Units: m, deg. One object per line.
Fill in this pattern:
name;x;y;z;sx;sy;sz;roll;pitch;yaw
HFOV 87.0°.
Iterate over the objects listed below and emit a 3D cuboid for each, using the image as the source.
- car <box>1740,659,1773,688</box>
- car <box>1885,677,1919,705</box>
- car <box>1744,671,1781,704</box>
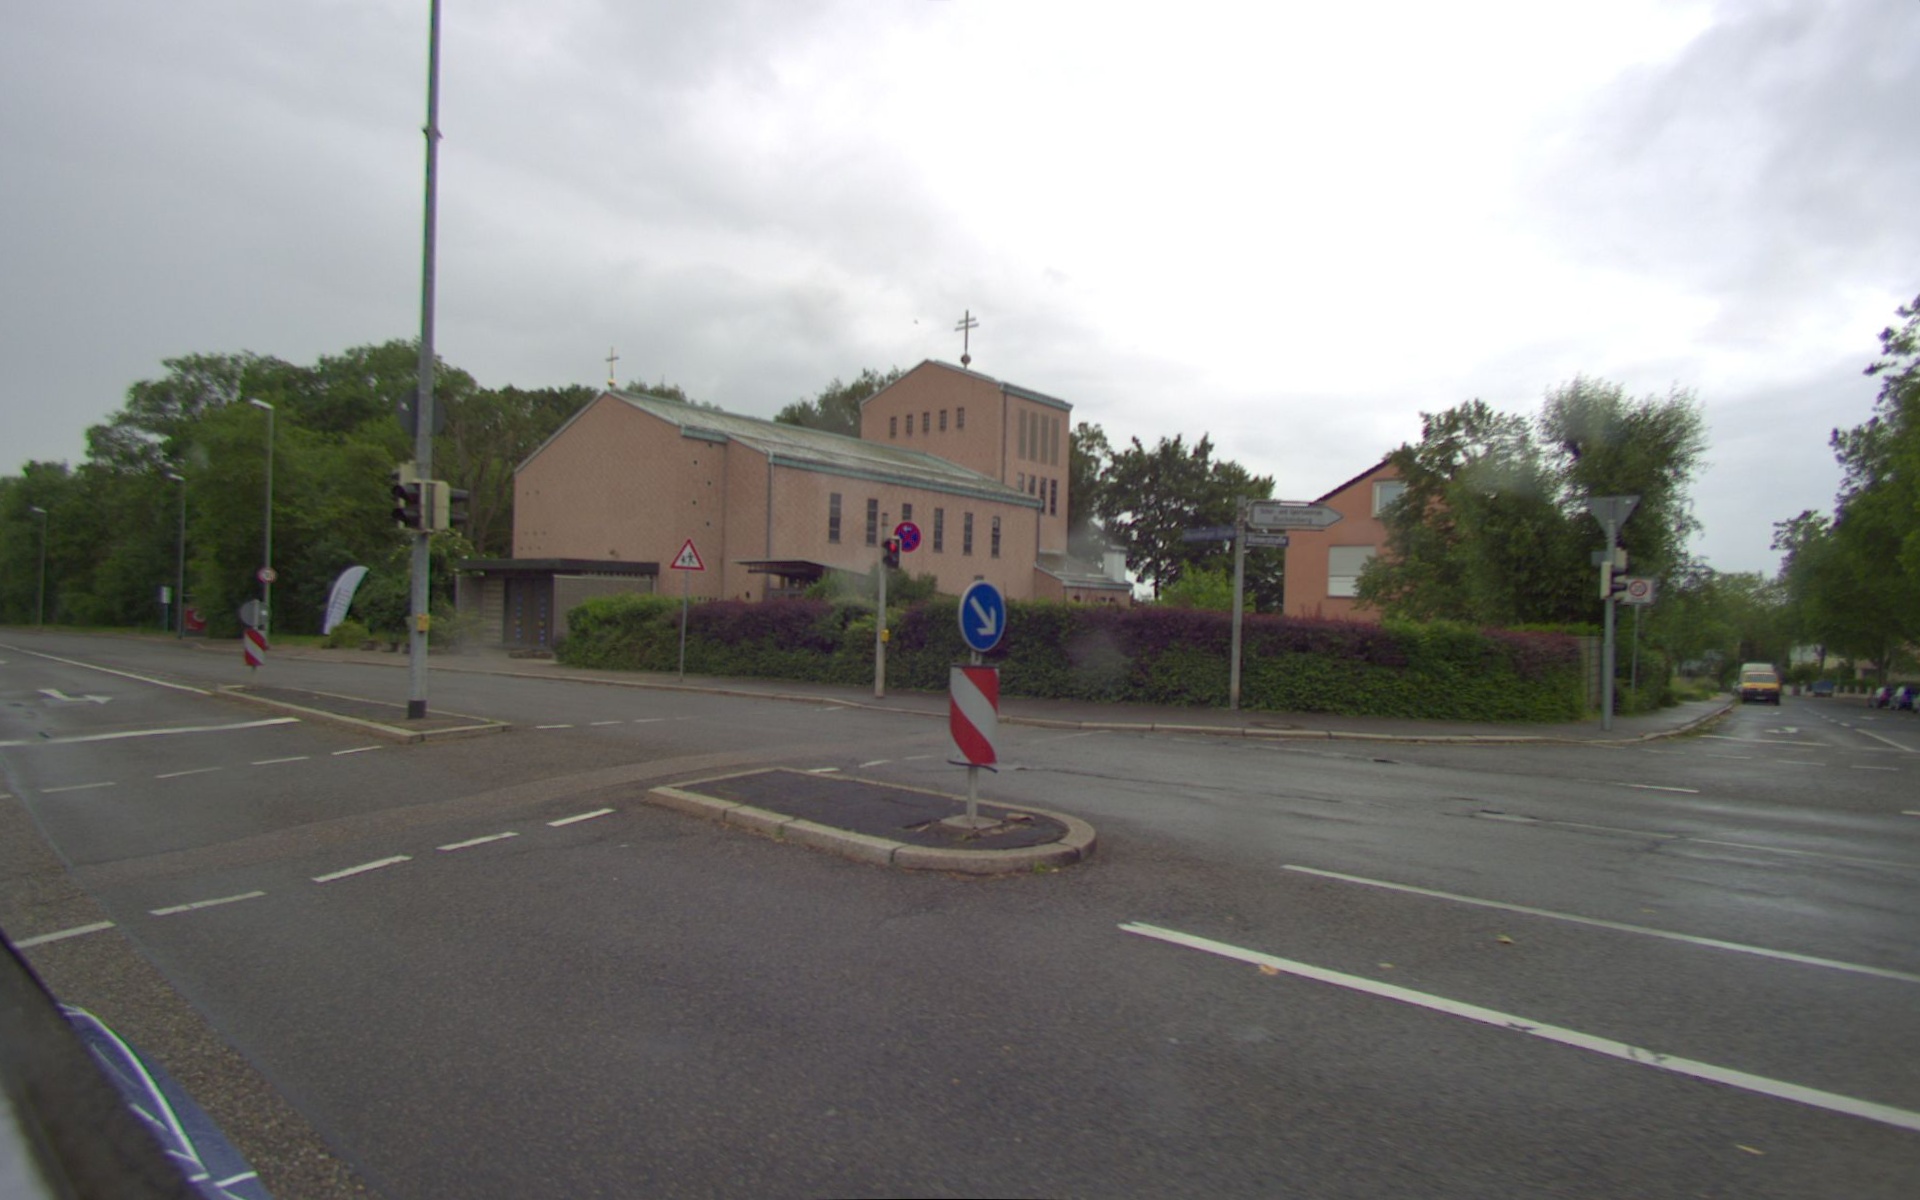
car;54.571;4.999;69.318;1.709;1.641;3.636;0;1;40
car;59.595;5.731;63.853;1.659;1.428;3.636;0;1;40
car;48.881;5.288;61.639;1.709;1.641;3.636;0;1;40
